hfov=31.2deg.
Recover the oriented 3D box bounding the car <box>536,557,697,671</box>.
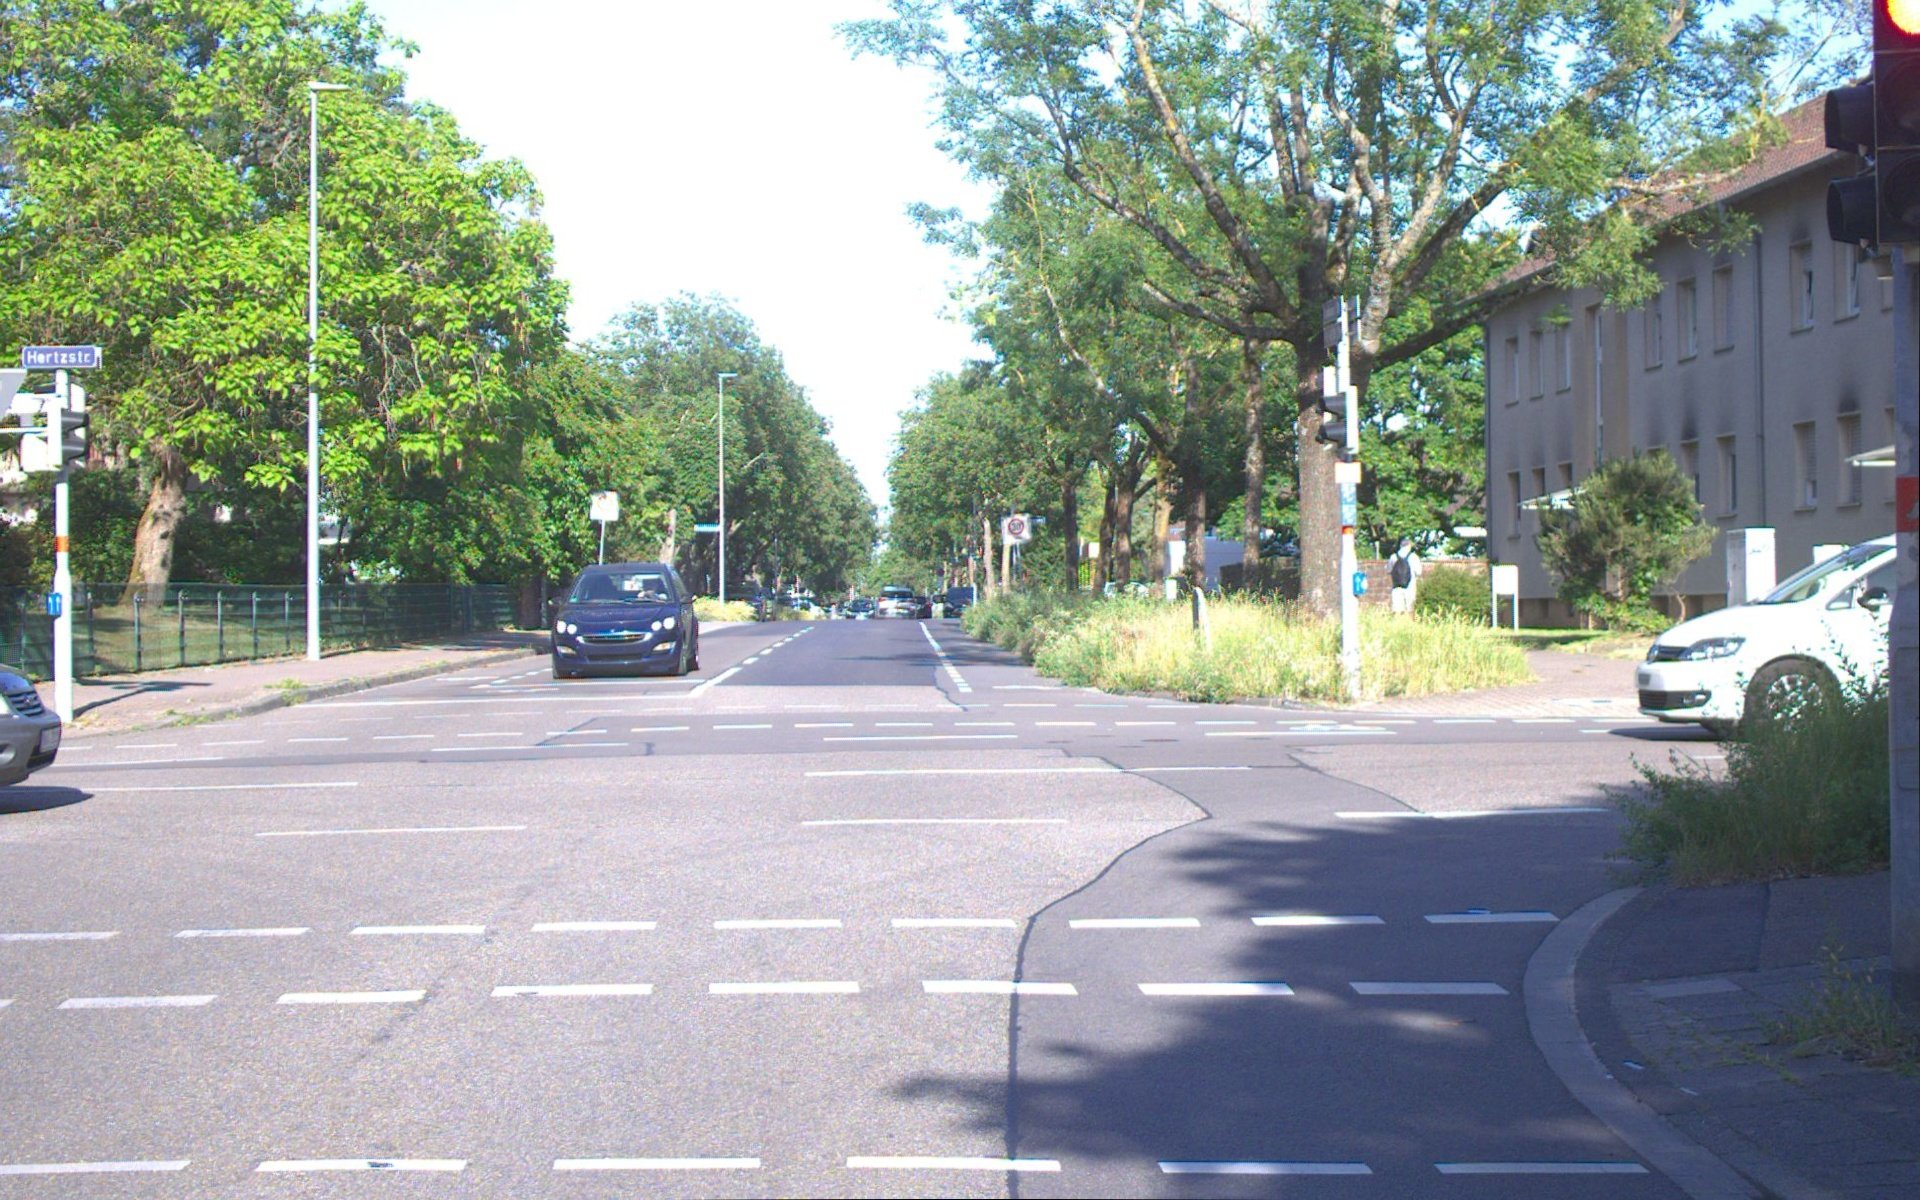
[{"bbox_3d":[-4.405,0.150,44.492,1.711,1.381,3.471,0,1,0],"label":"car"}]

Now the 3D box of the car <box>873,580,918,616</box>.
[{"bbox_3d":[-2.741,-0.107,146.287,1.844,1.456,3.530,0,1,-1],"label":"car"}]

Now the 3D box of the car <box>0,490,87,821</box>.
[{"bbox_3d":[-7.544,0.330,20.313,4.344,1.881,1.860,-1,1,-4],"label":"car"}]

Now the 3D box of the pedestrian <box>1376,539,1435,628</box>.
[{"bbox_3d":[7.613,-0.287,58.800,0.842,1.488,0.924,2,1,-1],"label":"pedestrian"}]

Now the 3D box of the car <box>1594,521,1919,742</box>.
[{"bbox_3d":[6.969,0.232,25.581,4.106,1.558,1.758,1,0,-3],"label":"car"}]
